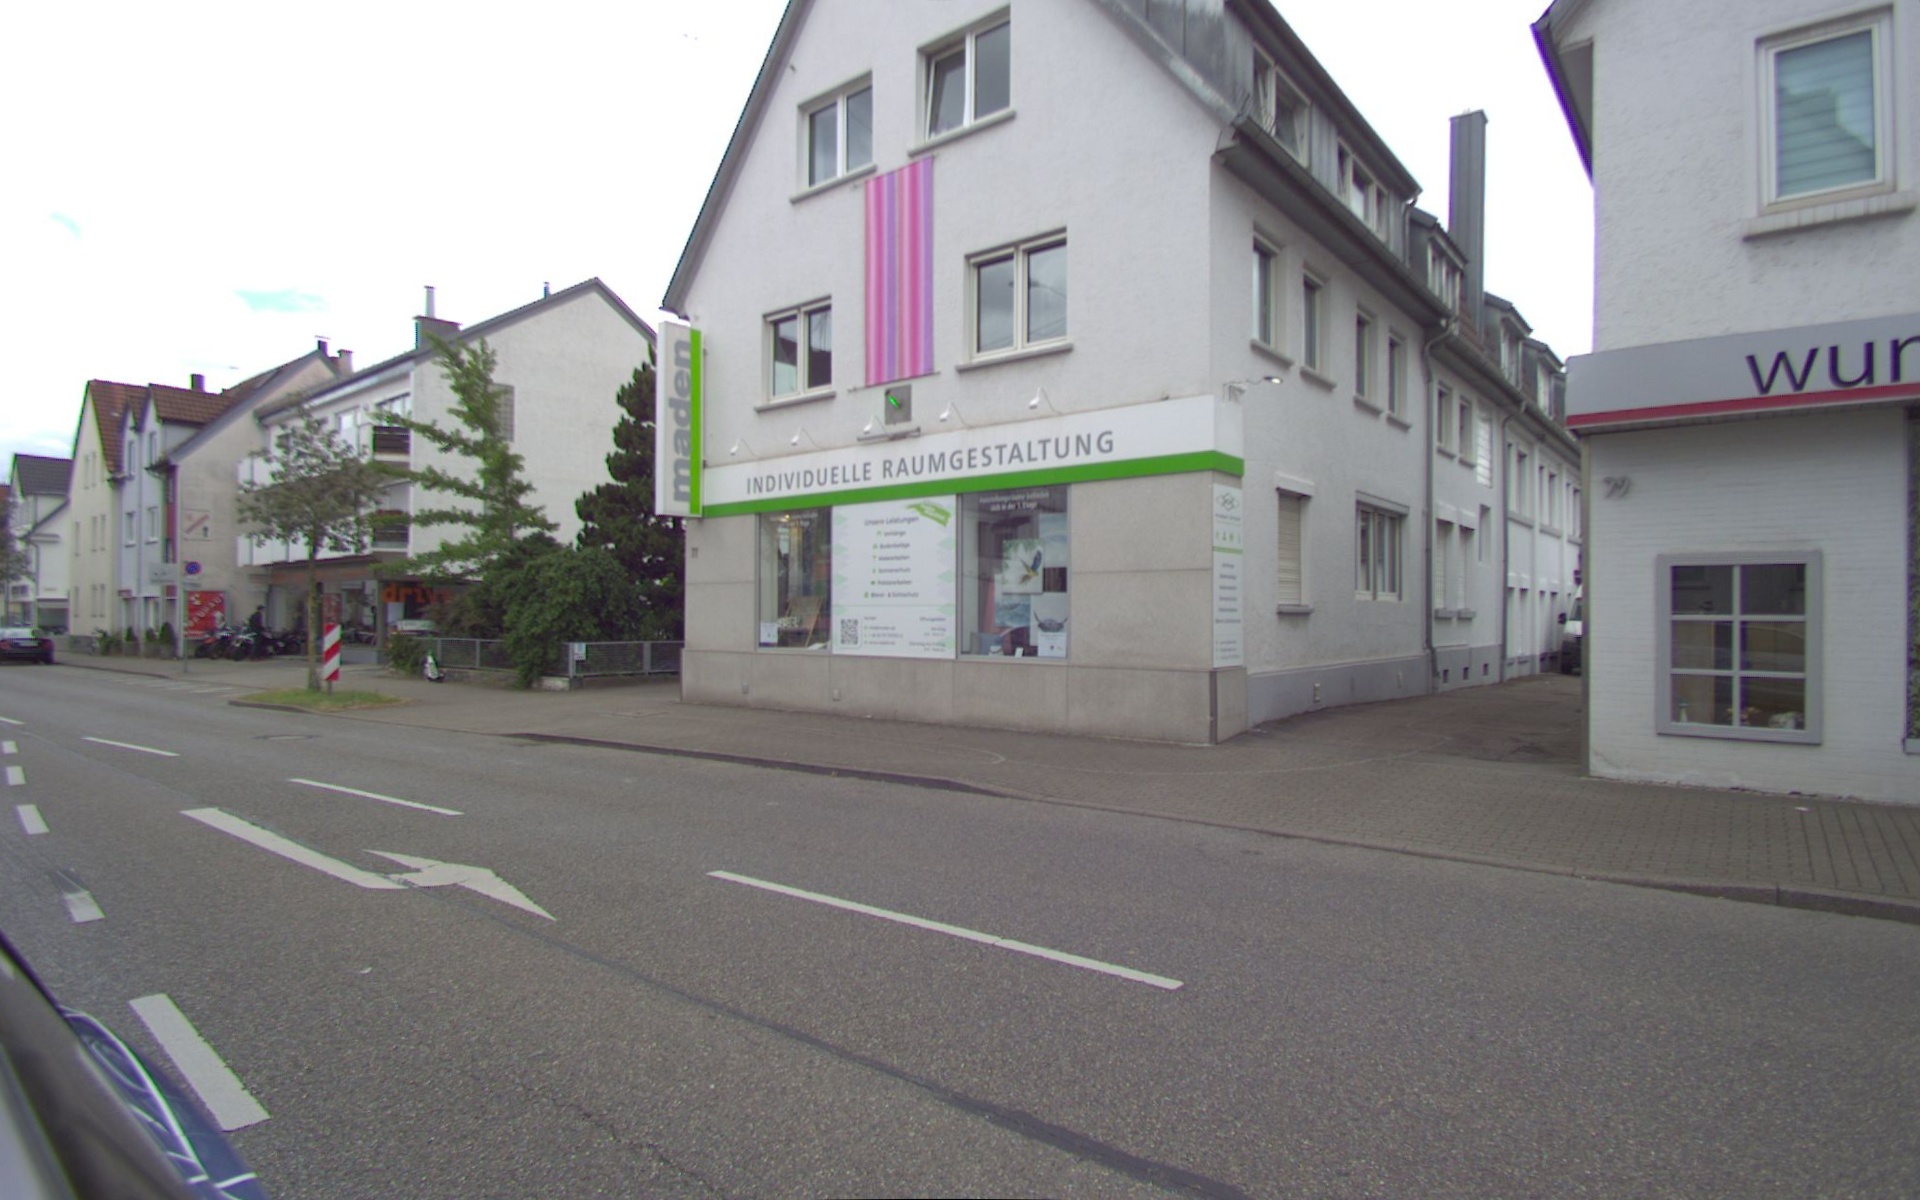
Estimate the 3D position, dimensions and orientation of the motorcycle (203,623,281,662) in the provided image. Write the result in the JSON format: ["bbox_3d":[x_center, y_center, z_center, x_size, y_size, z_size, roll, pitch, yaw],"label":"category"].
[{"bbox_3d":[-26.390,1.535,37.242,0.698,1.275,2.204,-1,1,38],"label":"motorcycle"}]

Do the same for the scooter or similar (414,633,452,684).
[{"bbox_3d":[-12.000,1.327,23.037,1.179,1.120,0.336,-1,-1,41],"label":"scooter or similar"}]

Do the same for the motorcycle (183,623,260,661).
[{"bbox_3d":[-27.678,1.553,37.955,0.612,1.275,2.204,-1,1,38],"label":"motorcycle"}]

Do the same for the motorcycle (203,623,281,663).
[{"bbox_3d":[-25.943,1.531,36.601,0.612,1.275,2.204,-1,1,38],"label":"motorcycle"}]

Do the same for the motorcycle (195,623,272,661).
[{"bbox_3d":[-27.033,1.553,37.691,0.612,1.275,2.204,-1,1,38],"label":"motorcycle"}]

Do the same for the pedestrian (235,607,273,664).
[{"bbox_3d":[-23.863,1.198,34.219,1.019,1.863,0.744,-1,2,40],"label":"pedestrian"}]

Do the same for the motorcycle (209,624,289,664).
[{"bbox_3d":[-25.311,1.557,36.074,0.612,1.275,2.204,-1,1,38],"label":"motorcycle"}]

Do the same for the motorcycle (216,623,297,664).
[{"bbox_3d":[-24.662,1.504,35.515,0.612,1.275,2.204,-1,1,38],"label":"motorcycle"}]

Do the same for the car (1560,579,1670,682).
[{"bbox_3d":[18.158,0.738,27.910,1.957,2.527,5.918,2,1,38],"label":"car"}]

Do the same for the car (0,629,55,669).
[{"bbox_3d":[-36.256,1.842,38.731,4.337,1.428,1.770,-1,-2,39],"label":"car"}]

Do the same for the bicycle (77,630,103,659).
[{"bbox_3d":[-37.666,1.908,43.808,2.022,1.205,0.509,-1,-1,39],"label":"bicycle"}]
